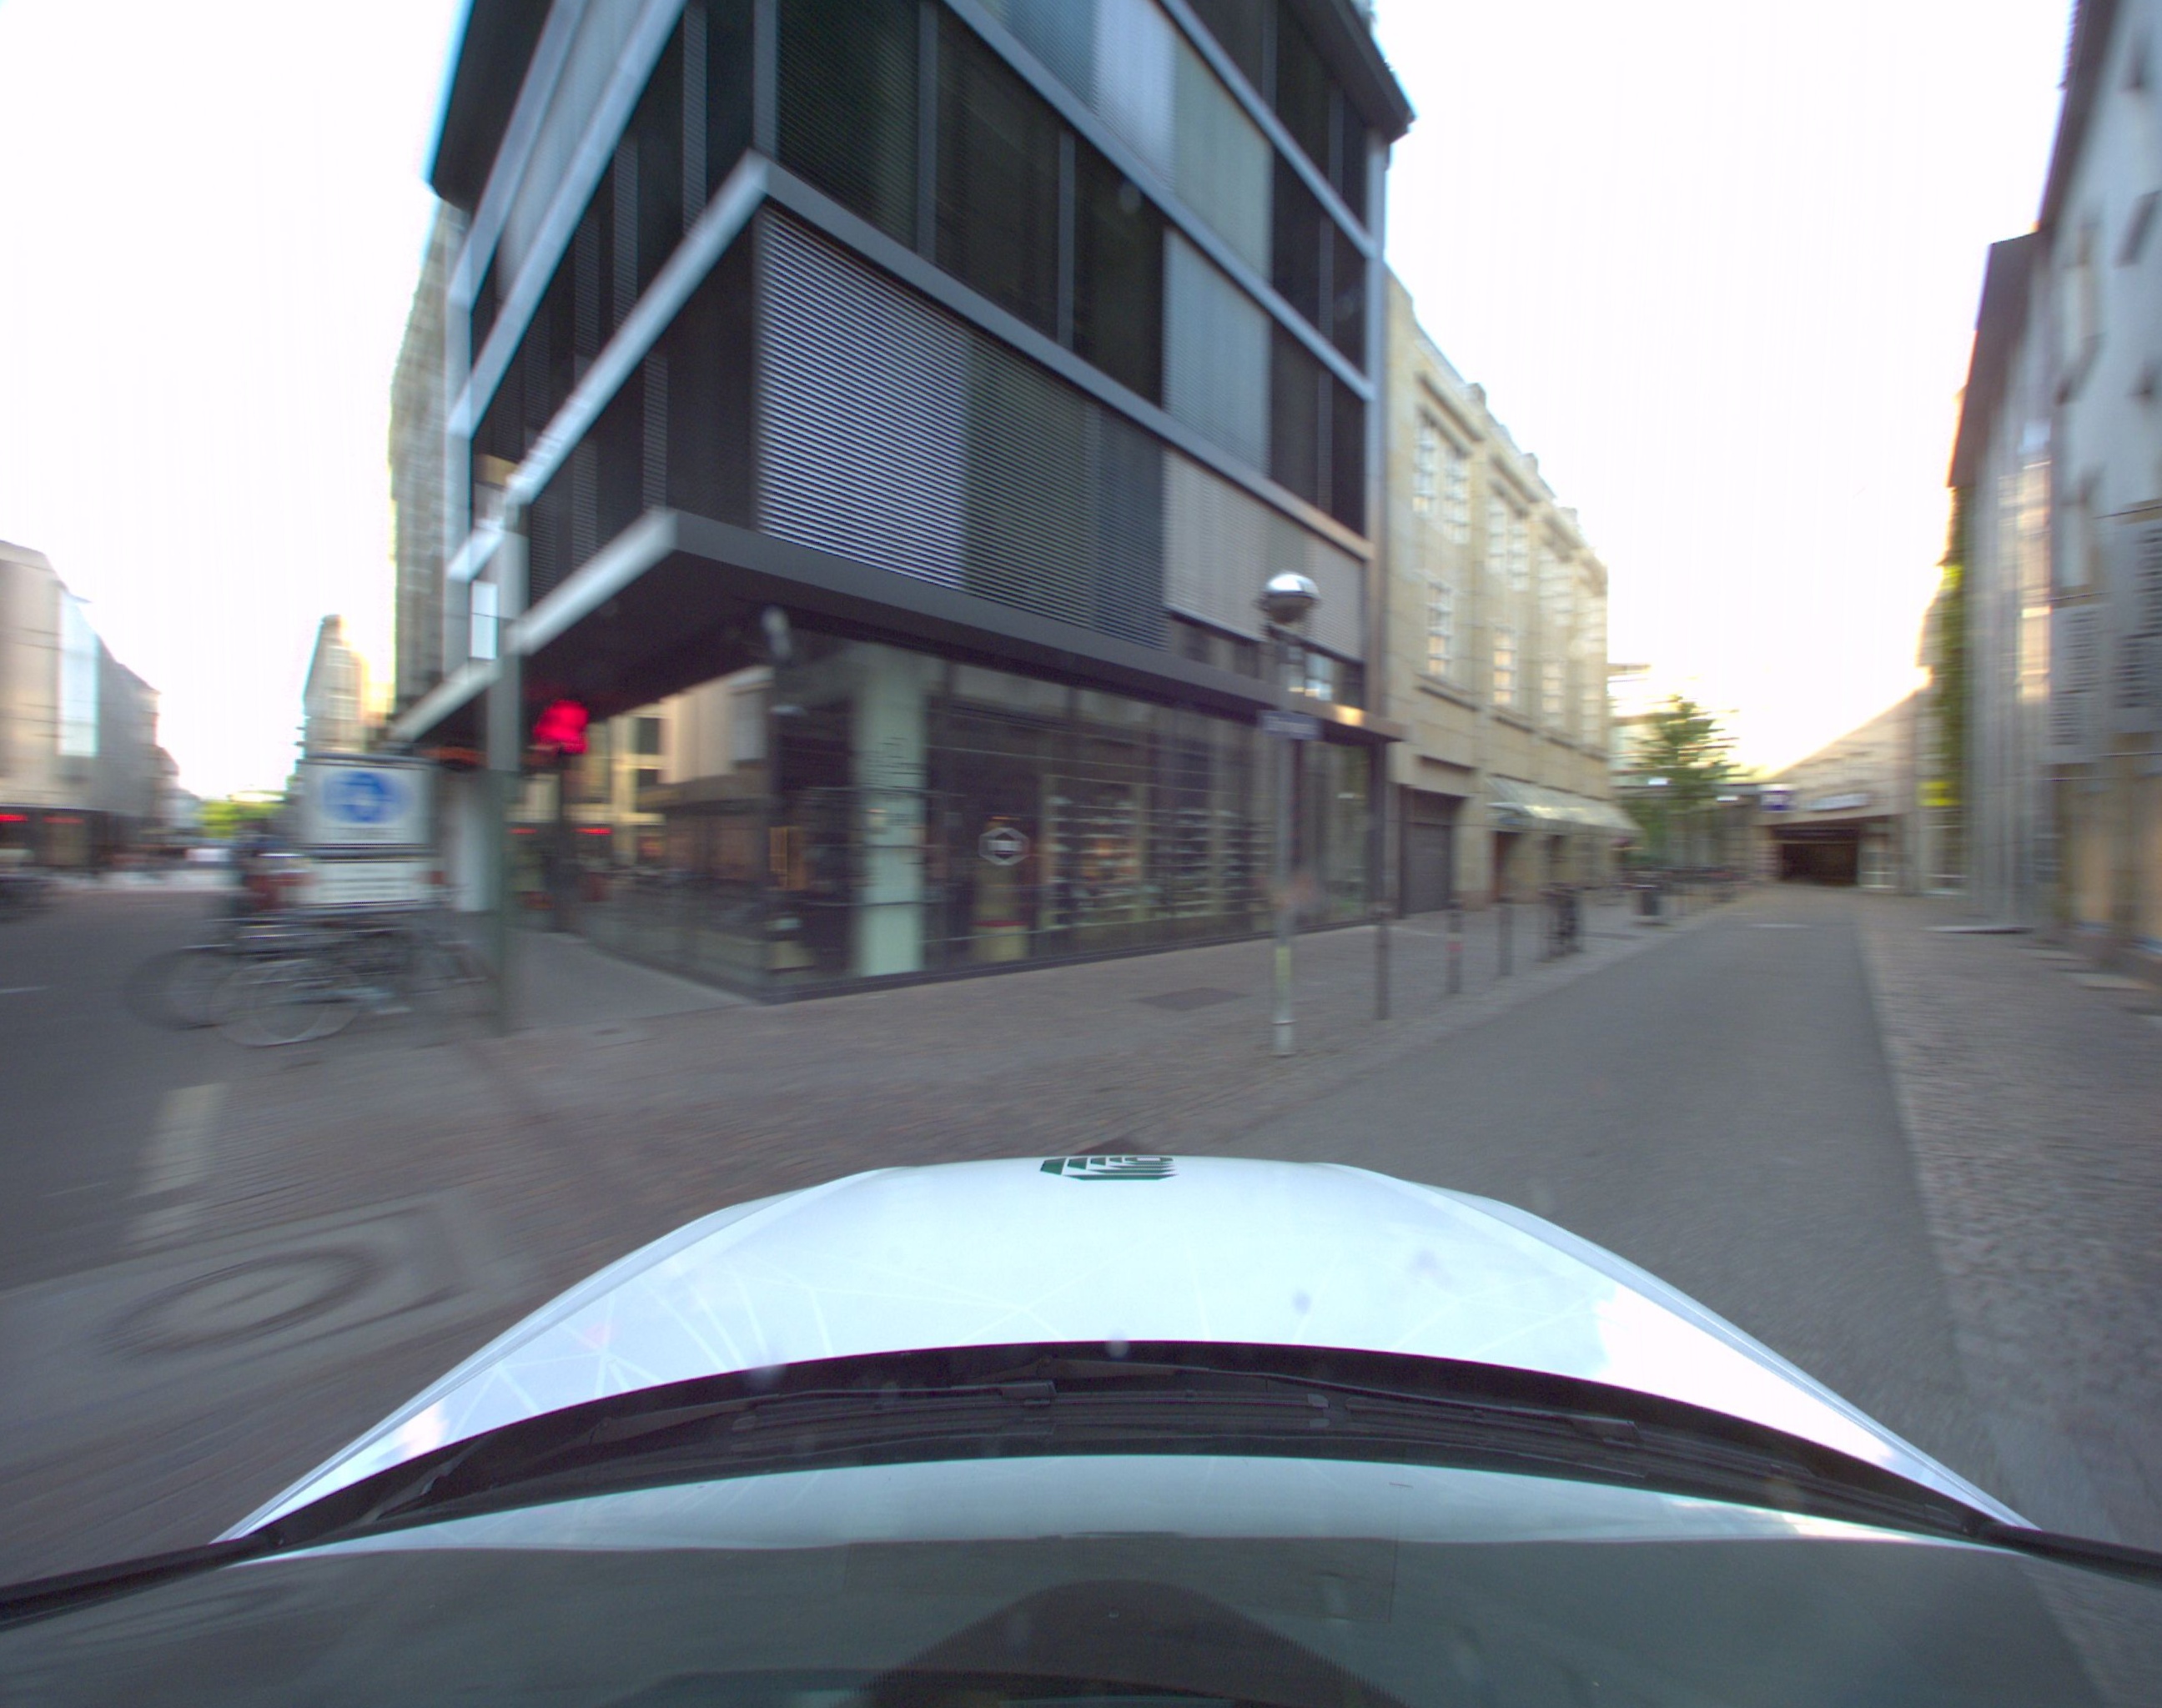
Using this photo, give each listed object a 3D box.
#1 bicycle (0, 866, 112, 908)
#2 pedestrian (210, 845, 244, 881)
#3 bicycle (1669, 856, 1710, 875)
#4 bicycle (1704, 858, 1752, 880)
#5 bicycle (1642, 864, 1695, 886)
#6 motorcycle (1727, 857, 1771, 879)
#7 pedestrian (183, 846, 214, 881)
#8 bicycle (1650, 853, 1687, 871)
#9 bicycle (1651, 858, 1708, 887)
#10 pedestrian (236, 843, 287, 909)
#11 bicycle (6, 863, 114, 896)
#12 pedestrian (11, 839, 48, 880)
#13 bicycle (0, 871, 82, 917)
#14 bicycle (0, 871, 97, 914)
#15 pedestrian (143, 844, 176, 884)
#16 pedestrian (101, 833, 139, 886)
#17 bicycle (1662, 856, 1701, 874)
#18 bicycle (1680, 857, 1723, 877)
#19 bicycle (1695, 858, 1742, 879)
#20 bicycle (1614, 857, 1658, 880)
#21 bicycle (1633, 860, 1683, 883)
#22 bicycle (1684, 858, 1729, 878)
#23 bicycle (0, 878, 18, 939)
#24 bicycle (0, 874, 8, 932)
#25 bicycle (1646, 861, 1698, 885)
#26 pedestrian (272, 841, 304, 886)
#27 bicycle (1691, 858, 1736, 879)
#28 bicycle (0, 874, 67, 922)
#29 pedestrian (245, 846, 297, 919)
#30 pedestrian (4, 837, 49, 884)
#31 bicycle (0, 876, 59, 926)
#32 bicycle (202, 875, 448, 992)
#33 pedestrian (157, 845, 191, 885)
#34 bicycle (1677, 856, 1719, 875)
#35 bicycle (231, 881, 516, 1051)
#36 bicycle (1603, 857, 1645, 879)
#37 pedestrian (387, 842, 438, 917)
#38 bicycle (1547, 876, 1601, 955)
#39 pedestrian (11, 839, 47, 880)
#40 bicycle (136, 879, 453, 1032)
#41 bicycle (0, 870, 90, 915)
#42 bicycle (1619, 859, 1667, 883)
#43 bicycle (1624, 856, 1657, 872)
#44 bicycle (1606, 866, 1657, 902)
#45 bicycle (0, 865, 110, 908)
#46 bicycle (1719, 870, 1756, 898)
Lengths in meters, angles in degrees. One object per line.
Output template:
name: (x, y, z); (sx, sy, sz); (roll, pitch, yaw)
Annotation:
bicycle: (-27.843, 0.899, 22.009); (0.461, 1.095, 2.066); (0, -2, 44)
pedestrian: (-42.892, 0.439, 40.905); (1.017, 1.733, 0.971); (0, 0, -35)
bicycle: (39.130, 0.749, 52.362); (1.976, 1.182, 0.698); (-2, -1, 25)
bicycle: (36.590, 0.869, 46.063); (1.976, 1.182, 0.700); (-2, -1, 25)
bicycle: (27.242, 0.966, 37.788); (1.896, 0.994, 0.700); (0, 0, 24)
motorcycle: (36.217, 0.779, 44.165); (1.729, 1.155, 0.598); (-2, -1, 28)
pedestrian: (-44.044, 0.453, 40.665); (0.868, 1.733, 0.924); (0, 0, -35)
bicycle: (41.147, 0.582, 57.029); (1.976, 1.182, 0.698); (-2, -1, 25)
bicycle: (26.656, 0.813, 36.306); (1.896, 1.261, 0.813); (0, 0, 24)
pedestrian: (-21.153, 0.551, 21.046); (0.907, 1.661, 0.919); (0, 0, -44)
bicycle: (-32.487, 0.815, 25.959); (0.461, 1.013, 2.066); (0, -2, 44)
pedestrian: (-47.540, 0.239, 36.819); (0.825, 1.859, 0.912); (0, 0, 45)
bicycle: (-24.709, 0.922, 18.769); (0.461, 1.050, 2.066); (0, -2, 44)
bicycle: (-26.540, 0.973, 20.580); (0.461, 1.050, 2.066); (0, -2, 44)
pedestrian: (-38.627, 0.412, 34.143); (0.783, 1.661, 0.913); (0, 0, 42)
pedestrian: (-34.560, 0.201, 29.301); (0.896, 1.859, 0.841); (0, 0, 43)
bicycle: (40.247, 0.748, 54.584); (1.976, 1.182, 0.698); (-2, -1, 25)
bicycle: (38.424, 0.800, 50.477); (1.976, 1.182, 0.807); (-2, -1, 25)
bicycle: (36.869, 0.842, 47.110); (1.976, 1.182, 0.700); (-2, -1, 25)
bicycle: (30.206, 0.785, 44.330); (1.895, 1.182, 0.700); (0, 0, 28)
bicycle: (28.196, 0.859, 39.822); (1.895, 1.101, 0.700); (0, 0, 28)
bicycle: (37.719, 0.856, 49.118); (1.976, 1.182, 0.807); (-2, -1, 25)
bicycle: (-19.884, 0.937, 13.944); (0.461, 1.074, 1.965); (0, -2, 44)
bicycle: (-20.996, 0.887, 14.651); (0.461, 1.074, 1.965); (0, -2, 44)
bicycle: (27.885, 0.908, 38.452); (1.896, 1.101, 0.700); (0, 0, 24)
pedestrian: (-32.856, 0.389, 33.753); (0.825, 1.859, 0.912); (0, 0, 44)
bicycle: (37.246, 0.860, 47.983); (1.976, 1.182, 0.807); (-2, -1, 25)
bicycle: (-23.696, 0.945, 17.651); (0.461, 1.016, 2.066); (0, -2, 44)
pedestrian: (-18.057, 0.615, 18.174); (0.804, 1.565, 0.848); (0, 0, -45)
pedestrian: (-43.255, 0.259, 33.417); (0.895, 1.859, 1.034); (0, 0, 45)
bicycle: (-22.881, 0.966, 16.854); (0.461, 1.016, 2.066); (0, -2, 44)
bicycle: (-8.805, 0.873, 9.590); (0.461, 1.121, 2.053); (0, 2, 44)
pedestrian: (-37.798, 0.454, 33.948); (0.783, 1.661, 0.913); (0, 0, 42)
bicycle: (38.929, 0.733, 51.373); (1.976, 1.182, 0.698); (-2, -1, 25)
bicycle: (-5.798, 0.852, 6.770); (0.461, 1.136, 1.713); (0, 2, 44)
bicycle: (30.218, 0.780, 45.362); (1.895, 1.182, 0.700); (0, 0, 28)
pedestrian: (-14.399, 0.529, 17.528); (0.804, 1.565, 0.848); (0, 0, -43)
bicycle: (7.910, 0.937, 13.040); (0.406, 1.132, 1.943); (0, 0, 41)
pedestrian: (-48.257, 0.238, 37.371); (0.825, 1.859, 0.912); (0, 0, 45)
bicycle: (-7.149, 0.857, 7.539); (0.461, 1.121, 2.028); (0, 2, 44)
bicycle: (-25.604, 0.918, 19.659); (0.461, 1.050, 2.066); (0, -2, 44)
bicycle: (28.283, 0.844, 41.008); (1.895, 1.182, 0.700); (0, 0, 28)
bicycle: (43.238, 0.747, 62.969); (1.976, 1.182, 0.698); (-2, -1, 25)
bicycle: (17.843, 0.966, 26.389); (1.782, 1.112, 0.689); (0, 0, -31)
bicycle: (-27.310, 0.870, 21.510); (0.461, 1.095, 2.066); (0, -2, 44)
bicycle: (24.153, 1.083, 29.936); (1.700, 0.966, 0.501); (0, 0, -31)
